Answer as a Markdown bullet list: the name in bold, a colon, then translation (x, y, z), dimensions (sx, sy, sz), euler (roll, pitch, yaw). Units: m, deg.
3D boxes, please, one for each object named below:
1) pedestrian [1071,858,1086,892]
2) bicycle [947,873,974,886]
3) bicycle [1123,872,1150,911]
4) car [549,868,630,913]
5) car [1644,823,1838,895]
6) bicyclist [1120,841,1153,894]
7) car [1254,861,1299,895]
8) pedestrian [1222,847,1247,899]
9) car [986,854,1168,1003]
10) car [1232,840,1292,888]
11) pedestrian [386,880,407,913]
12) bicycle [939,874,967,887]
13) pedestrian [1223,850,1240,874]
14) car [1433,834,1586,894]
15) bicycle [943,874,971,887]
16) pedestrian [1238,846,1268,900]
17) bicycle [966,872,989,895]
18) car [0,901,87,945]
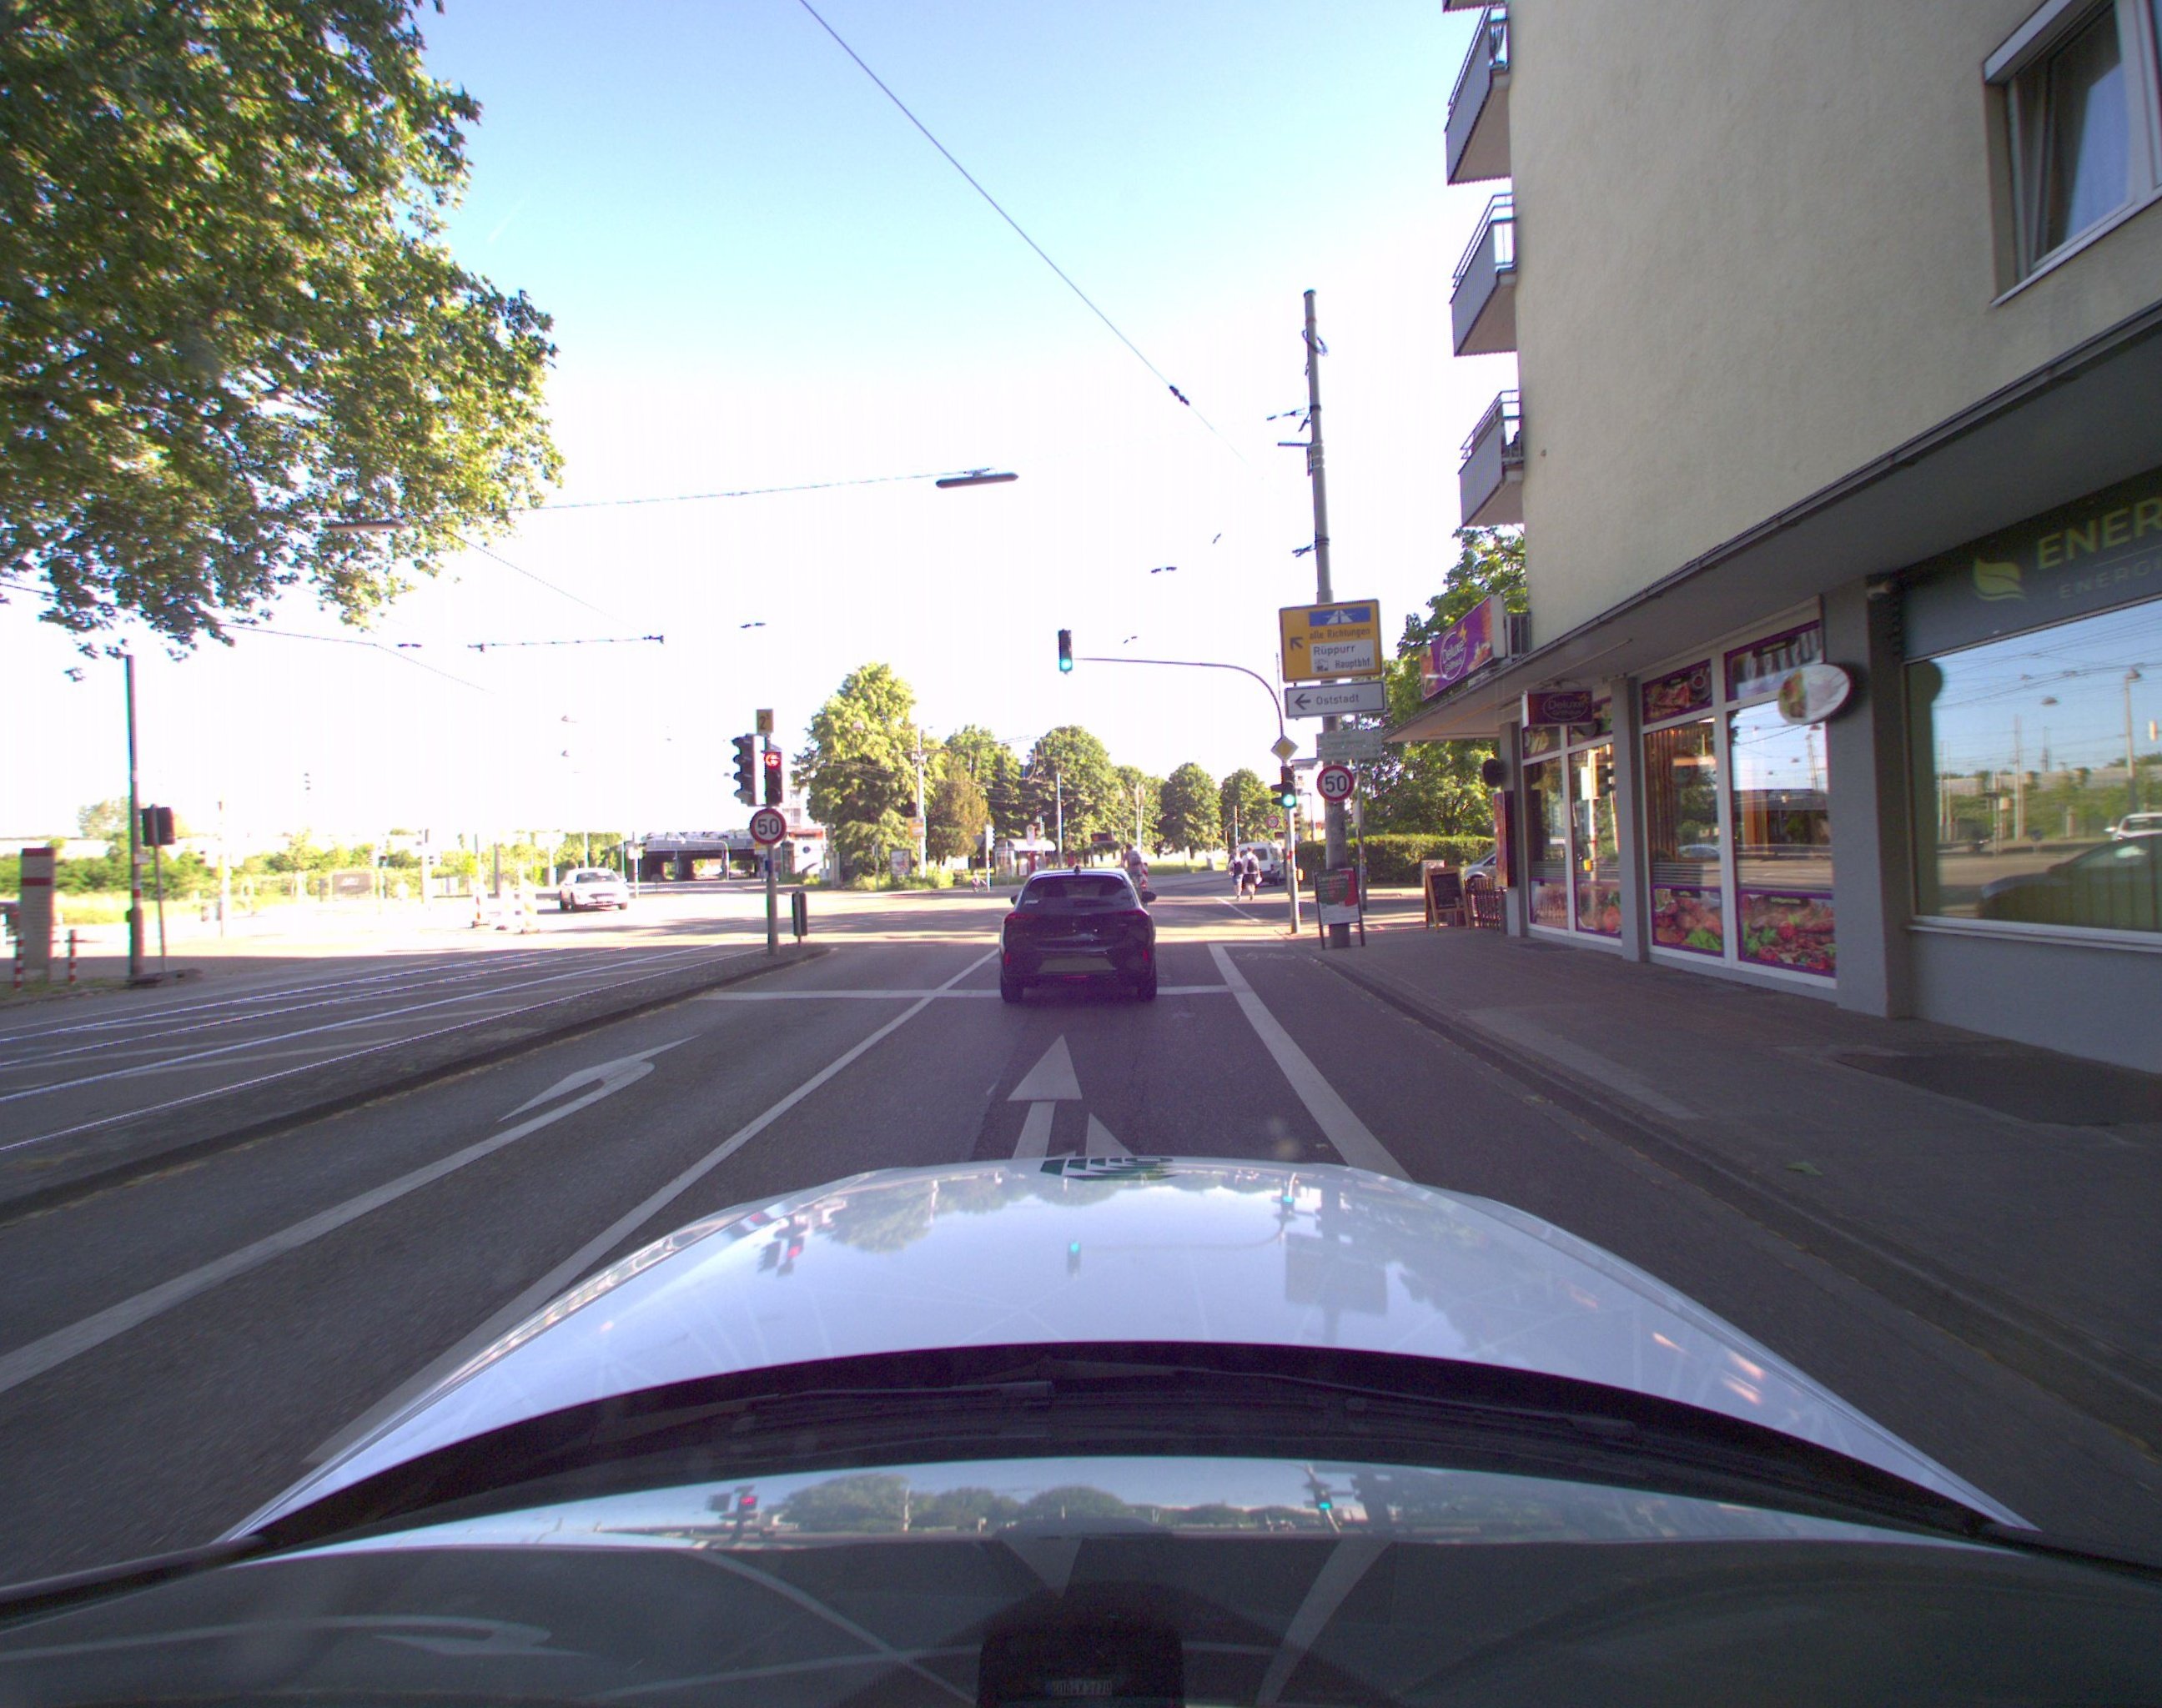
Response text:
- **pedestrian**: translation (-0.109, 1.082, 42.294), dimensions (0.723, 1.693, 0.700), euler (-2, -1, 0)
- **bicycle**: translation (-9.014, 1.913, 61.023), dimensions (1.866, 0.906, 0.661), euler (-2, -1, 7)
- **bicycle**: translation (1.648, 1.091, 24.307), dimensions (0.665, 1.059, 2.082), euler (-2, -1, 1)
- **car**: translation (-19.716, 1.424, 32.564), dimensions (2.011, 1.632, 4.575), euler (-1, -1, -41)
- **car**: translation (16.283, 0.132, 20.394), dimensions (1.697, 1.581, 4.039), euler (-2, -1, 3)
- **bicyclist**: translation (1.639, 0.388, 24.284), dimensions (0.838, 1.510, 1.368), euler (-2, -1, -1)
- **car**: translation (11.335, 1.367, 47.095), dimensions (1.784, 1.763, 3.913), euler (-2, -1, 24)
- **pedestrian**: translation (5.414, 0.669, 28.774), dimensions (0.696, 1.792, 0.617), euler (-2, -1, 0)
- **car**: translation (0.044, 0.769, 10.191), dimensions (1.793, 1.441, 3.942), euler (-2, -1, 2)
- **car**: translation (9.223, 0.522, 41.262), dimensions (2.070, 2.278, 4.330), euler (-1, -2, 25)
- **pedestrian**: translation (-34.048, 2.099, 40.532), dimensions (0.602, 1.596, 0.679), euler (0, -2, -25)
- **bicycle**: translation (-9.285, 1.911, 59.169), dimensions (1.866, 0.906, 0.661), euler (-2, -1, 7)
- **pedestrian**: translation (11.269, 0.610, 60.808), dimensions (0.949, 1.793, 1.001), euler (-2, -1, 26)
- **car**: translation (14.427, 0.380, 27.633), dimensions (4.151, 1.814, 1.810), euler (-2, -4, 9)
- **bicycle**: translation (-9.174, 1.937, 60.153), dimensions (1.866, 0.906, 0.661), euler (-2, -1, 7)
- **pedestrian**: translation (5.948, 0.647, 28.167), dimensions (0.696, 1.846, 0.705), euler (-3, -1, 40)
- **bicycle**: translation (-5.300, 1.509, 41.940), dimensions (0.821, 1.059, 1.884), euler (-2, -1, 3)
- **car**: translation (-43.536, 2.815, 32.746), dimensions (4.007, 1.419, 1.879), euler (-1, 5, -26)
